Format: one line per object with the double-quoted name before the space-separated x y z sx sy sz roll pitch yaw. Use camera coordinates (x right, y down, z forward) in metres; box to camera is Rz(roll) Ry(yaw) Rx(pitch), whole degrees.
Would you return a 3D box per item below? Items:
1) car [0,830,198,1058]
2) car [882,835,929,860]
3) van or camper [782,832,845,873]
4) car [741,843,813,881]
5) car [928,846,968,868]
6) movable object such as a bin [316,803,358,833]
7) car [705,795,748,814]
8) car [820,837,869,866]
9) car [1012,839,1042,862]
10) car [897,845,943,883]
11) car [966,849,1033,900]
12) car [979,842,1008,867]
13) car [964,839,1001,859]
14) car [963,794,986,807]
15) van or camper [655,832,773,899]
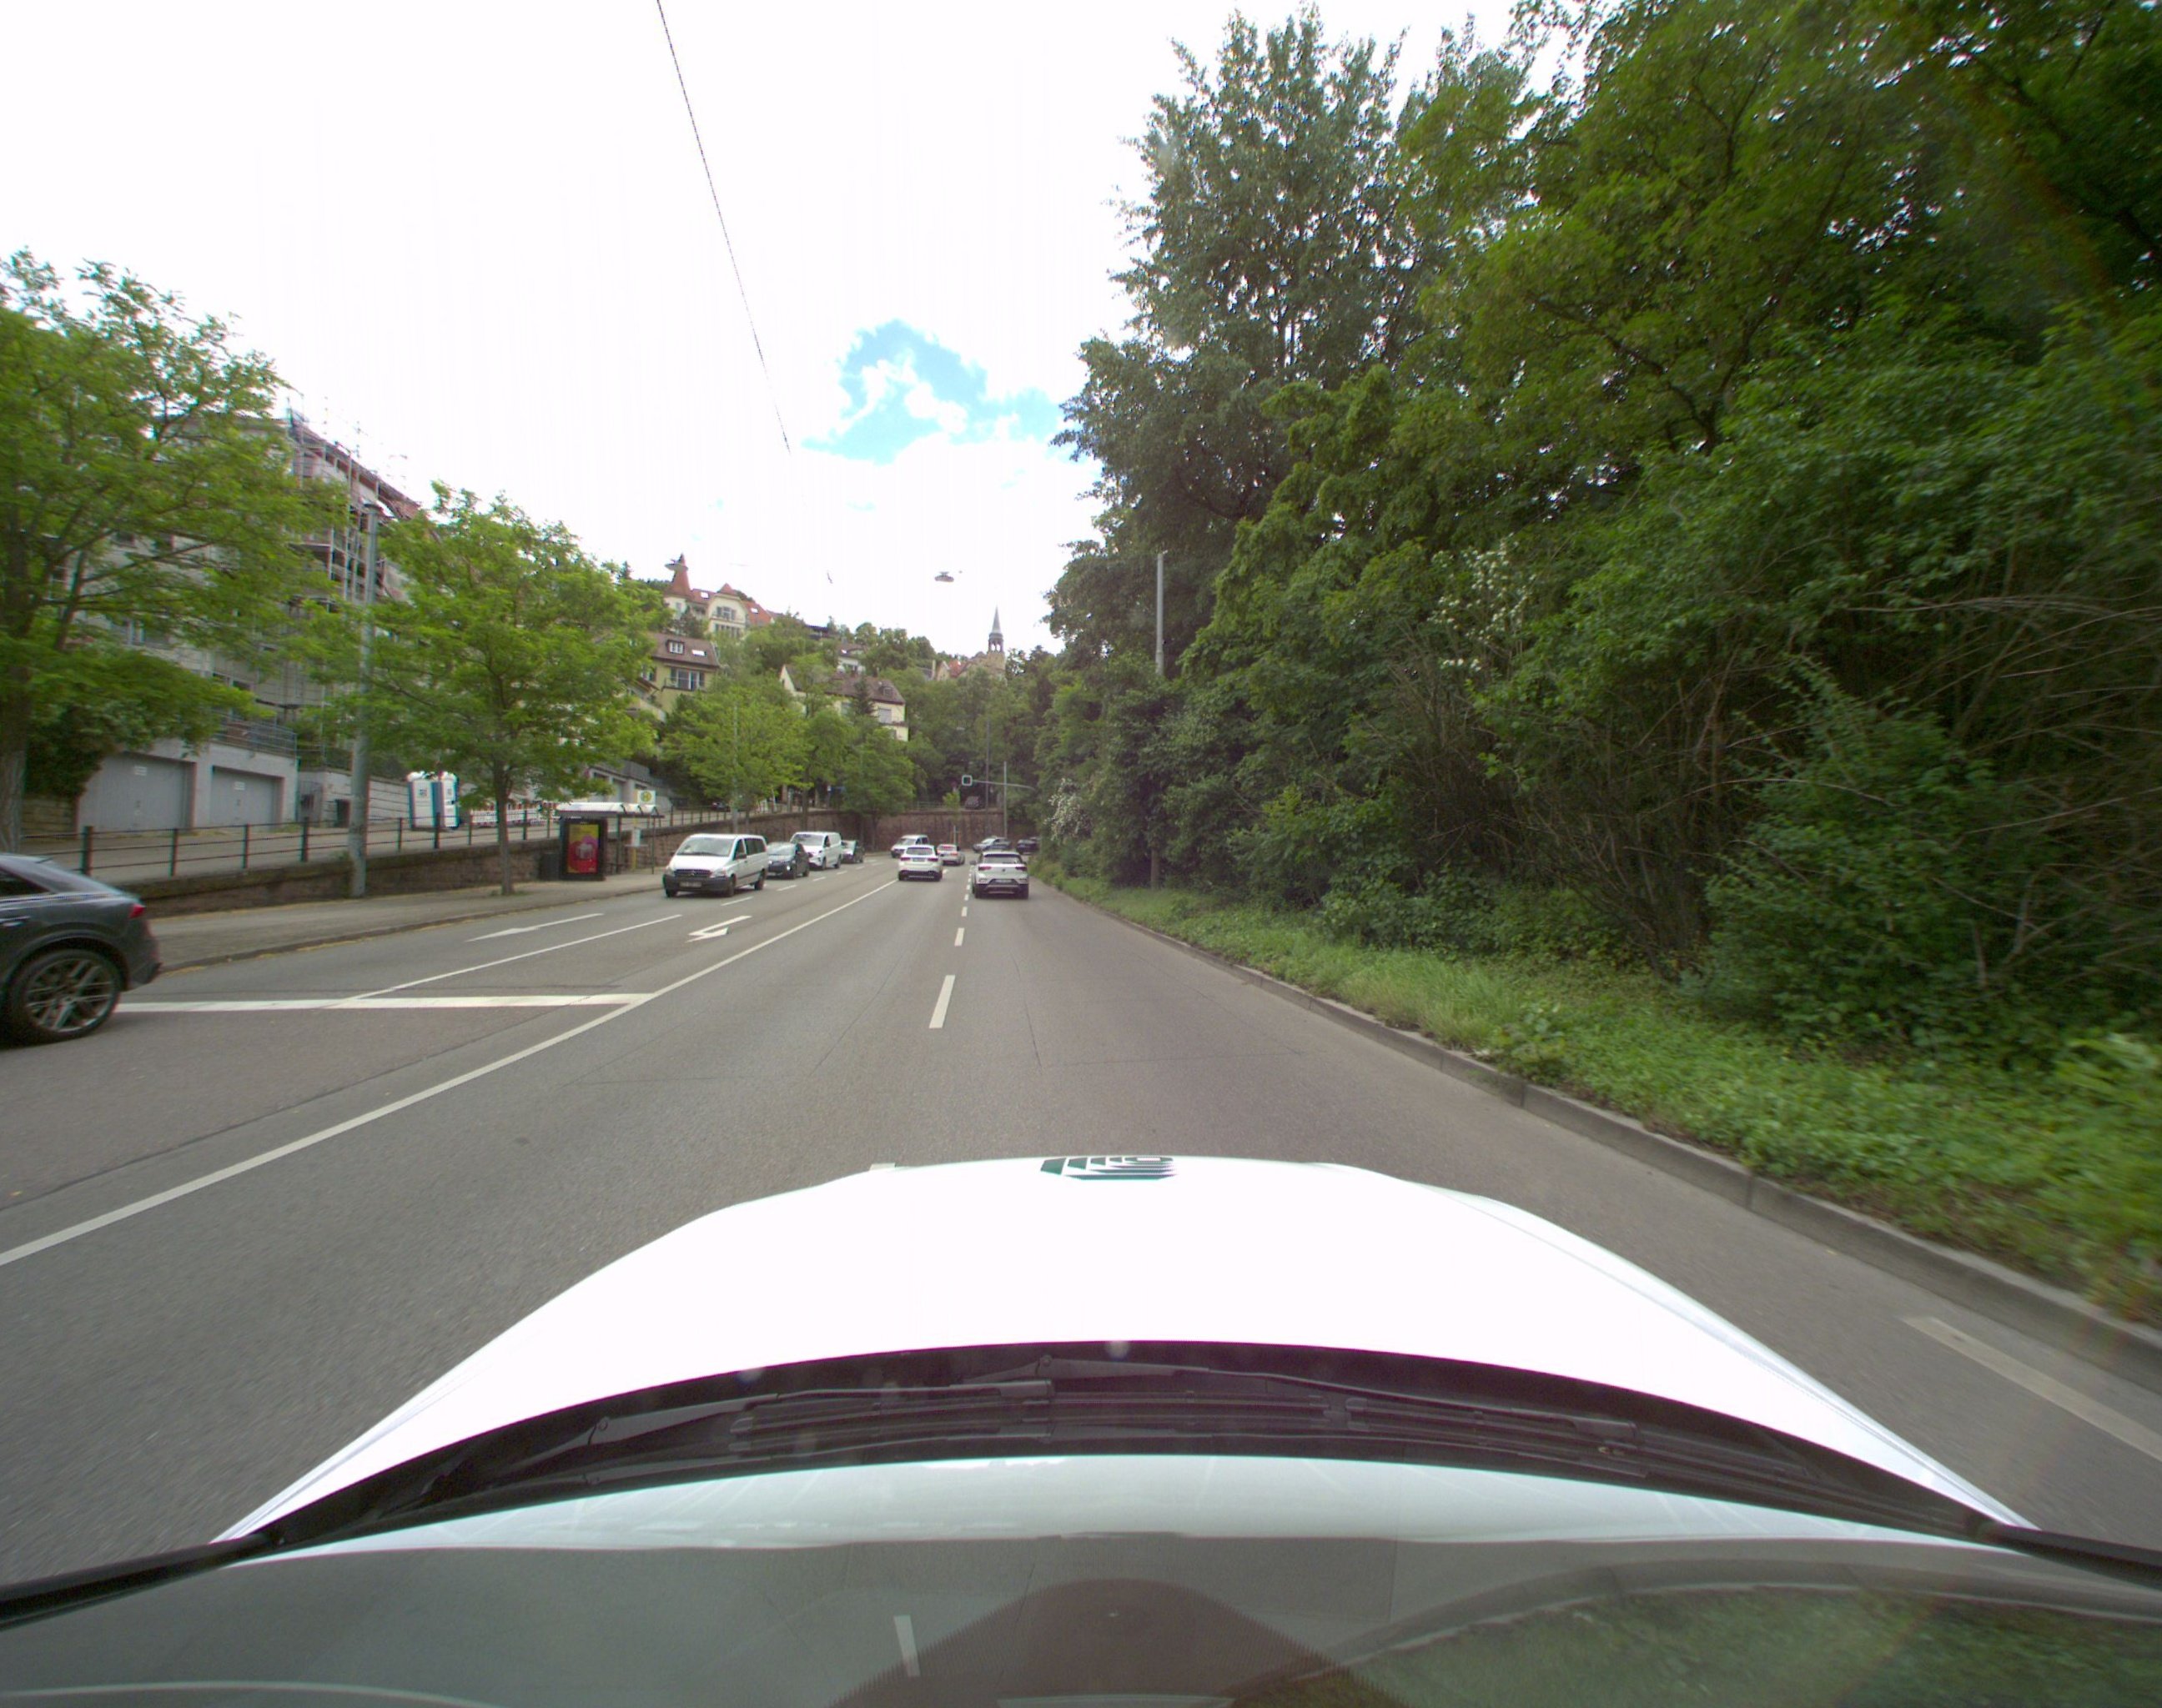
"car" -9.411 0.747 5.439 1.891 1.791 4.754 -2 0 -3
"car" -13.948 -0.519 64.956 1.933 1.798 4.300 3 0 12
"van or camper" -14.125 -0.112 43.322 1.991 2.013 5.551 1 0 -6
"car" -12.973 0.309 35.019 1.992 1.520 3.980 2 0 -8
"car" -9.427 0.201 58.019 2.242 1.519 4.304 0 1 -2
"movable object such as a bin" -27.006 -1.299 29.586 0.806 1.042 0.835 0 0 -13
"car" -27.387 -3.806 63.057 1.544 1.279 3.603 -1 1 4
"car" -15.205 -0.193 52.558 1.989 1.617 4.325 3 1 -3
"car" -4.969 -0.340 75.743 2.180 2.013 4.004 -2 0 4
"car" -7.464 0.455 38.071 1.876 1.652 4.328 -1 0 -9
"car" -2.871 0.663 27.942 1.866 1.556 3.879 1 1 -12
"car" -6.074 0.034 57.136 1.858 1.632 3.952 -2 0 -5
"car" -9.264 -0.488 76.929 1.931 1.693 4.304 3 1 16
"car" -12.503 -6.256 95.683 1.985 1.485 4.005 0 4 3
"van or camper" -11.547 0.322 26.091 1.992 1.895 5.441 1 0 -8
